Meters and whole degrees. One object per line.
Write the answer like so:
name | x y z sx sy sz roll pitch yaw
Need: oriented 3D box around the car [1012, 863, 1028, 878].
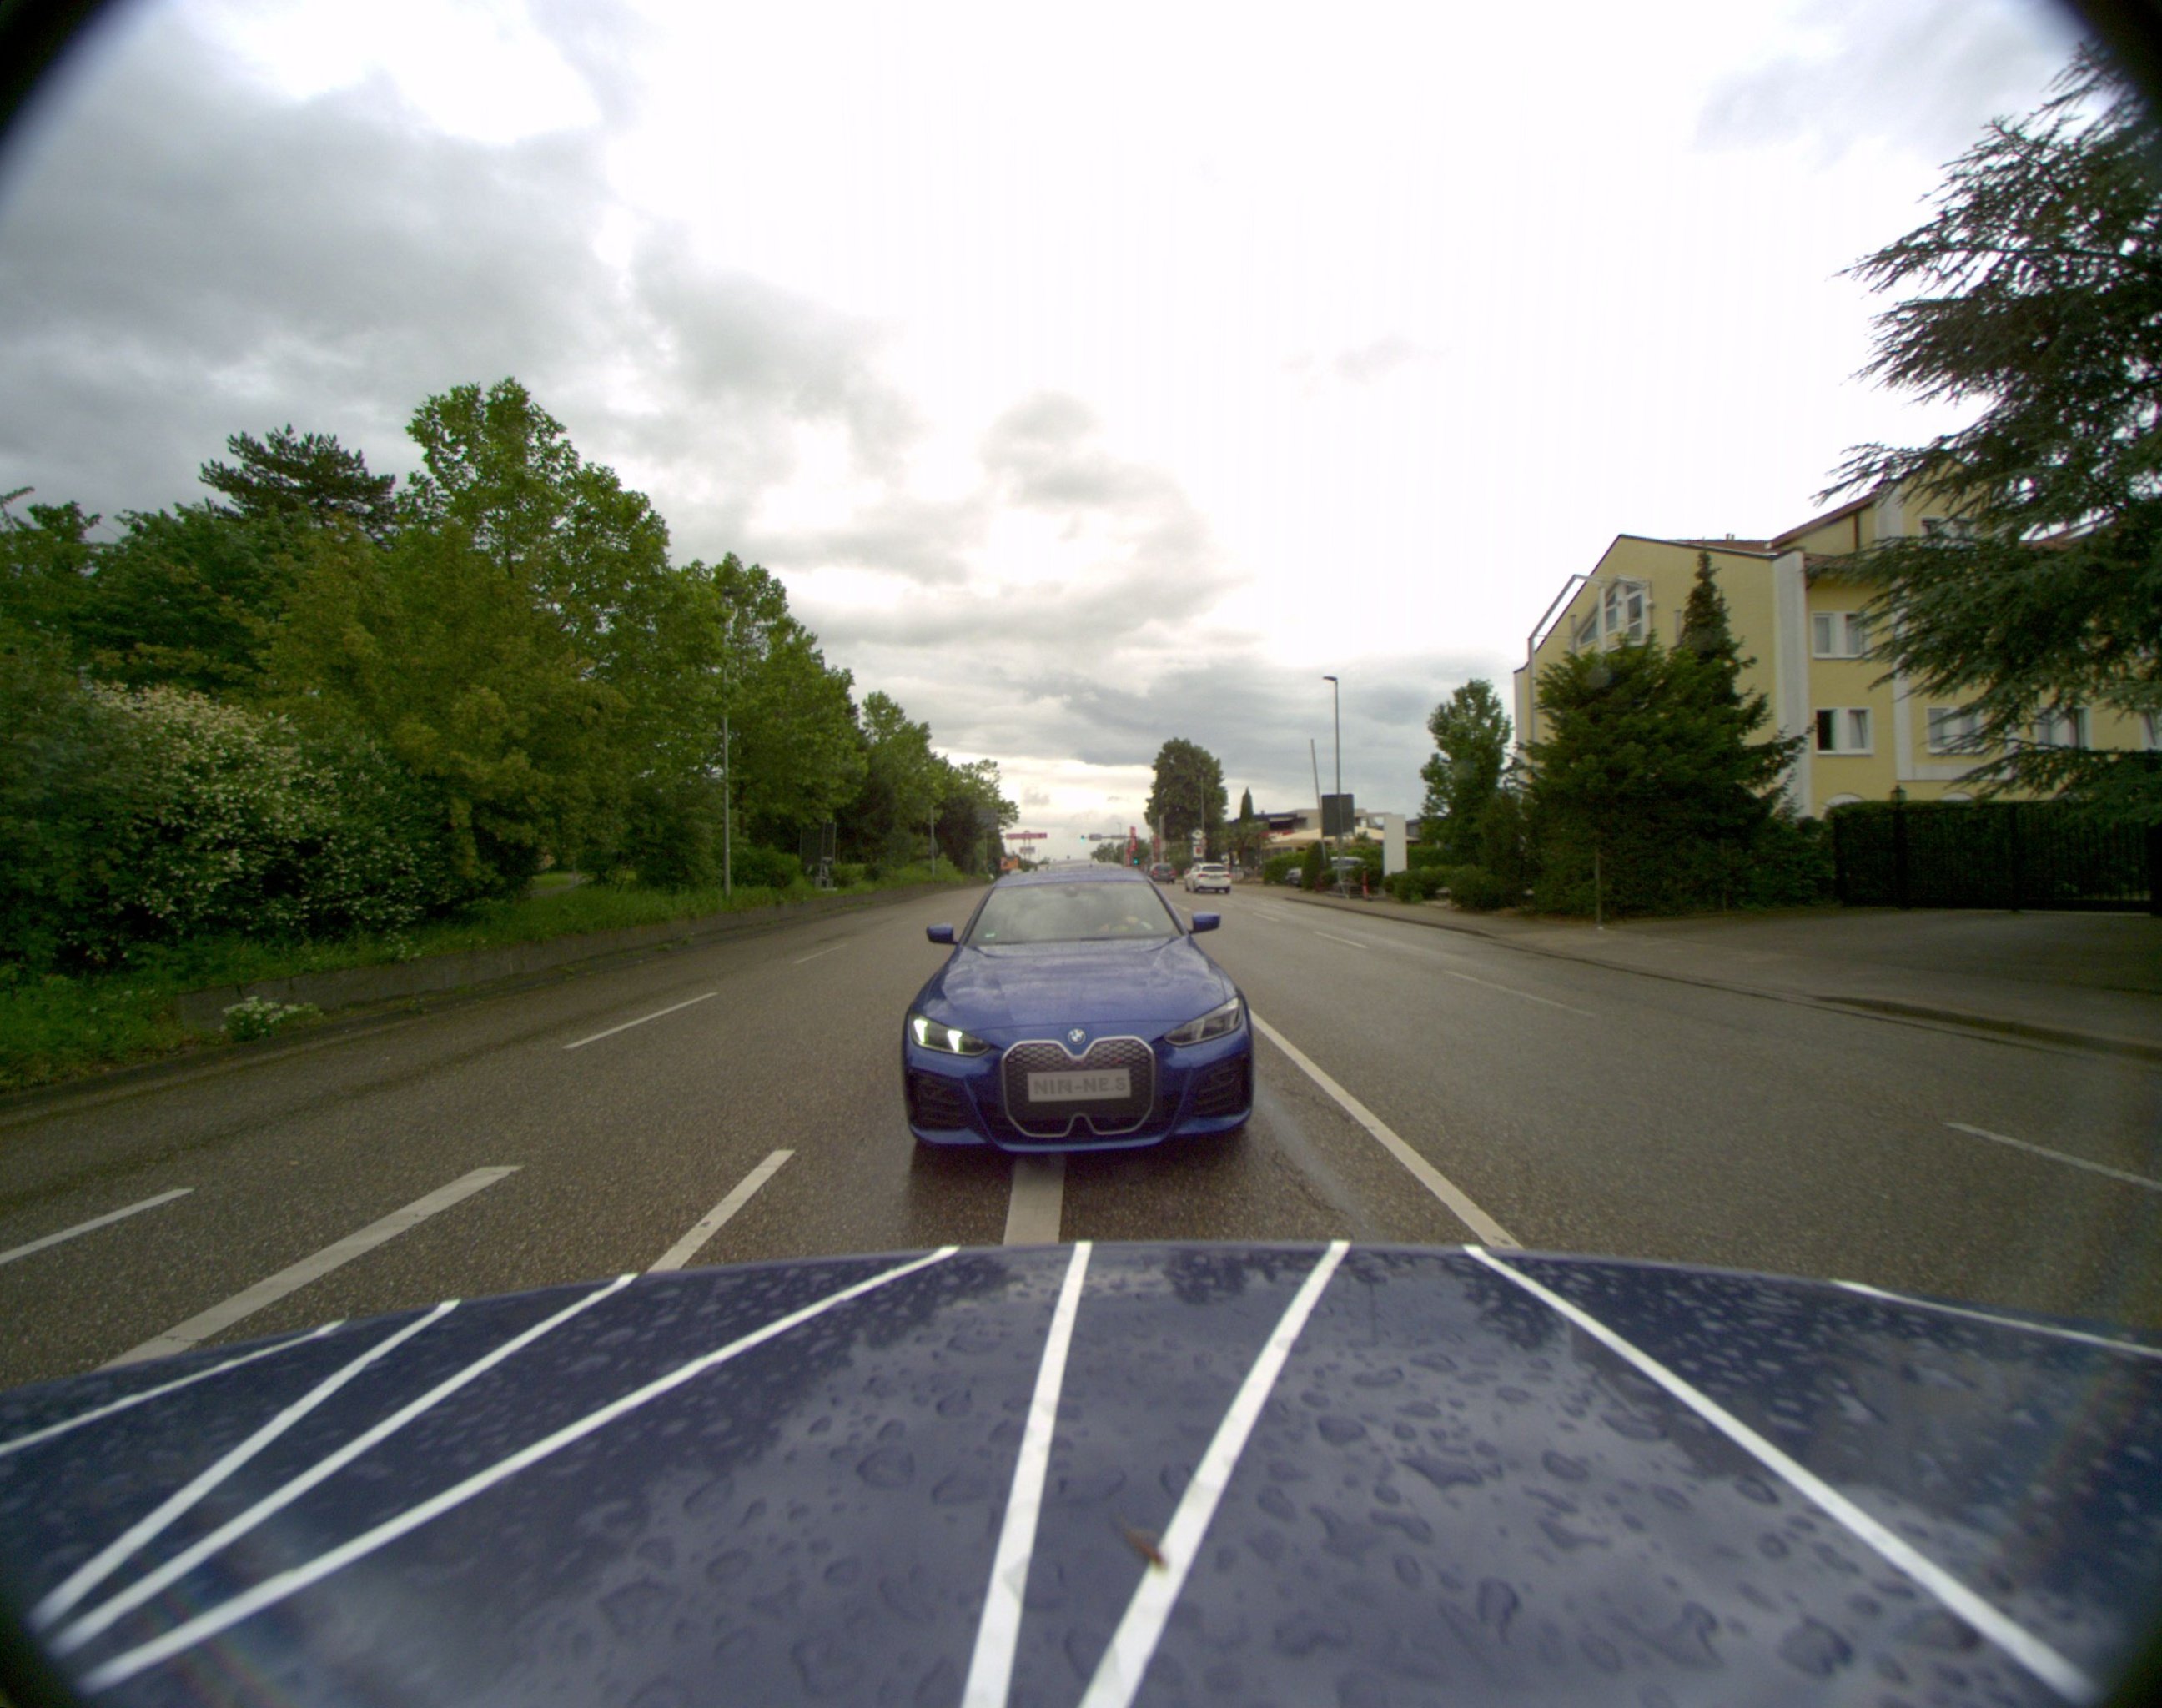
car | -7.534 2.010 93.714 1.705 1.612 3.841 -2 1 -2

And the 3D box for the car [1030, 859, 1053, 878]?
car | -3.394 1.221 65.753 1.698 1.580 4.000 -1 0 1

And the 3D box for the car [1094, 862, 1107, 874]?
car | 2.440 1.776 95.942 1.643 1.451 3.518 -1 0 0

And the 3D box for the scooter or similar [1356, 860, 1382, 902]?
scooter or similar | 10.040 0.919 26.542 0.505 1.398 1.882 0 0 11

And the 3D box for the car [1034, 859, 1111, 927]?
car | -0.191 0.950 20.084 1.807 1.543 4.000 -1 0 0

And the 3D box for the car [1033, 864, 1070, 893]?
car | -1.545 1.288 41.458 1.775 1.448 4.000 -1 0 1

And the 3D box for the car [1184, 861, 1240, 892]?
car | 6.586 1.103 38.628 1.973 1.446 4.308 1 0 -2

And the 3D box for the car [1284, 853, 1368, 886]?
car | 12.885 0.822 40.084 3.930 1.642 1.719 -1 0 6

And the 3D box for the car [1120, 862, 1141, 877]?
car | 5.478 1.697 84.383 1.790 1.451 4.431 -1 0 -3

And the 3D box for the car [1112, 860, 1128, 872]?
car | 5.054 1.503 99.525 1.700 1.467 3.779 -1 0 -2

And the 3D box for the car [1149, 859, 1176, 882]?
car | 6.235 1.251 58.184 1.703 1.590 3.550 -2 0 1

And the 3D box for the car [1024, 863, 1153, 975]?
car | 0.123 0.954 12.928 1.807 1.543 4.223 -1 0 0

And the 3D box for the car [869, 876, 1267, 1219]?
car | -0.057 0.956 5.635 1.803 1.399 4.272 -1 0 0
